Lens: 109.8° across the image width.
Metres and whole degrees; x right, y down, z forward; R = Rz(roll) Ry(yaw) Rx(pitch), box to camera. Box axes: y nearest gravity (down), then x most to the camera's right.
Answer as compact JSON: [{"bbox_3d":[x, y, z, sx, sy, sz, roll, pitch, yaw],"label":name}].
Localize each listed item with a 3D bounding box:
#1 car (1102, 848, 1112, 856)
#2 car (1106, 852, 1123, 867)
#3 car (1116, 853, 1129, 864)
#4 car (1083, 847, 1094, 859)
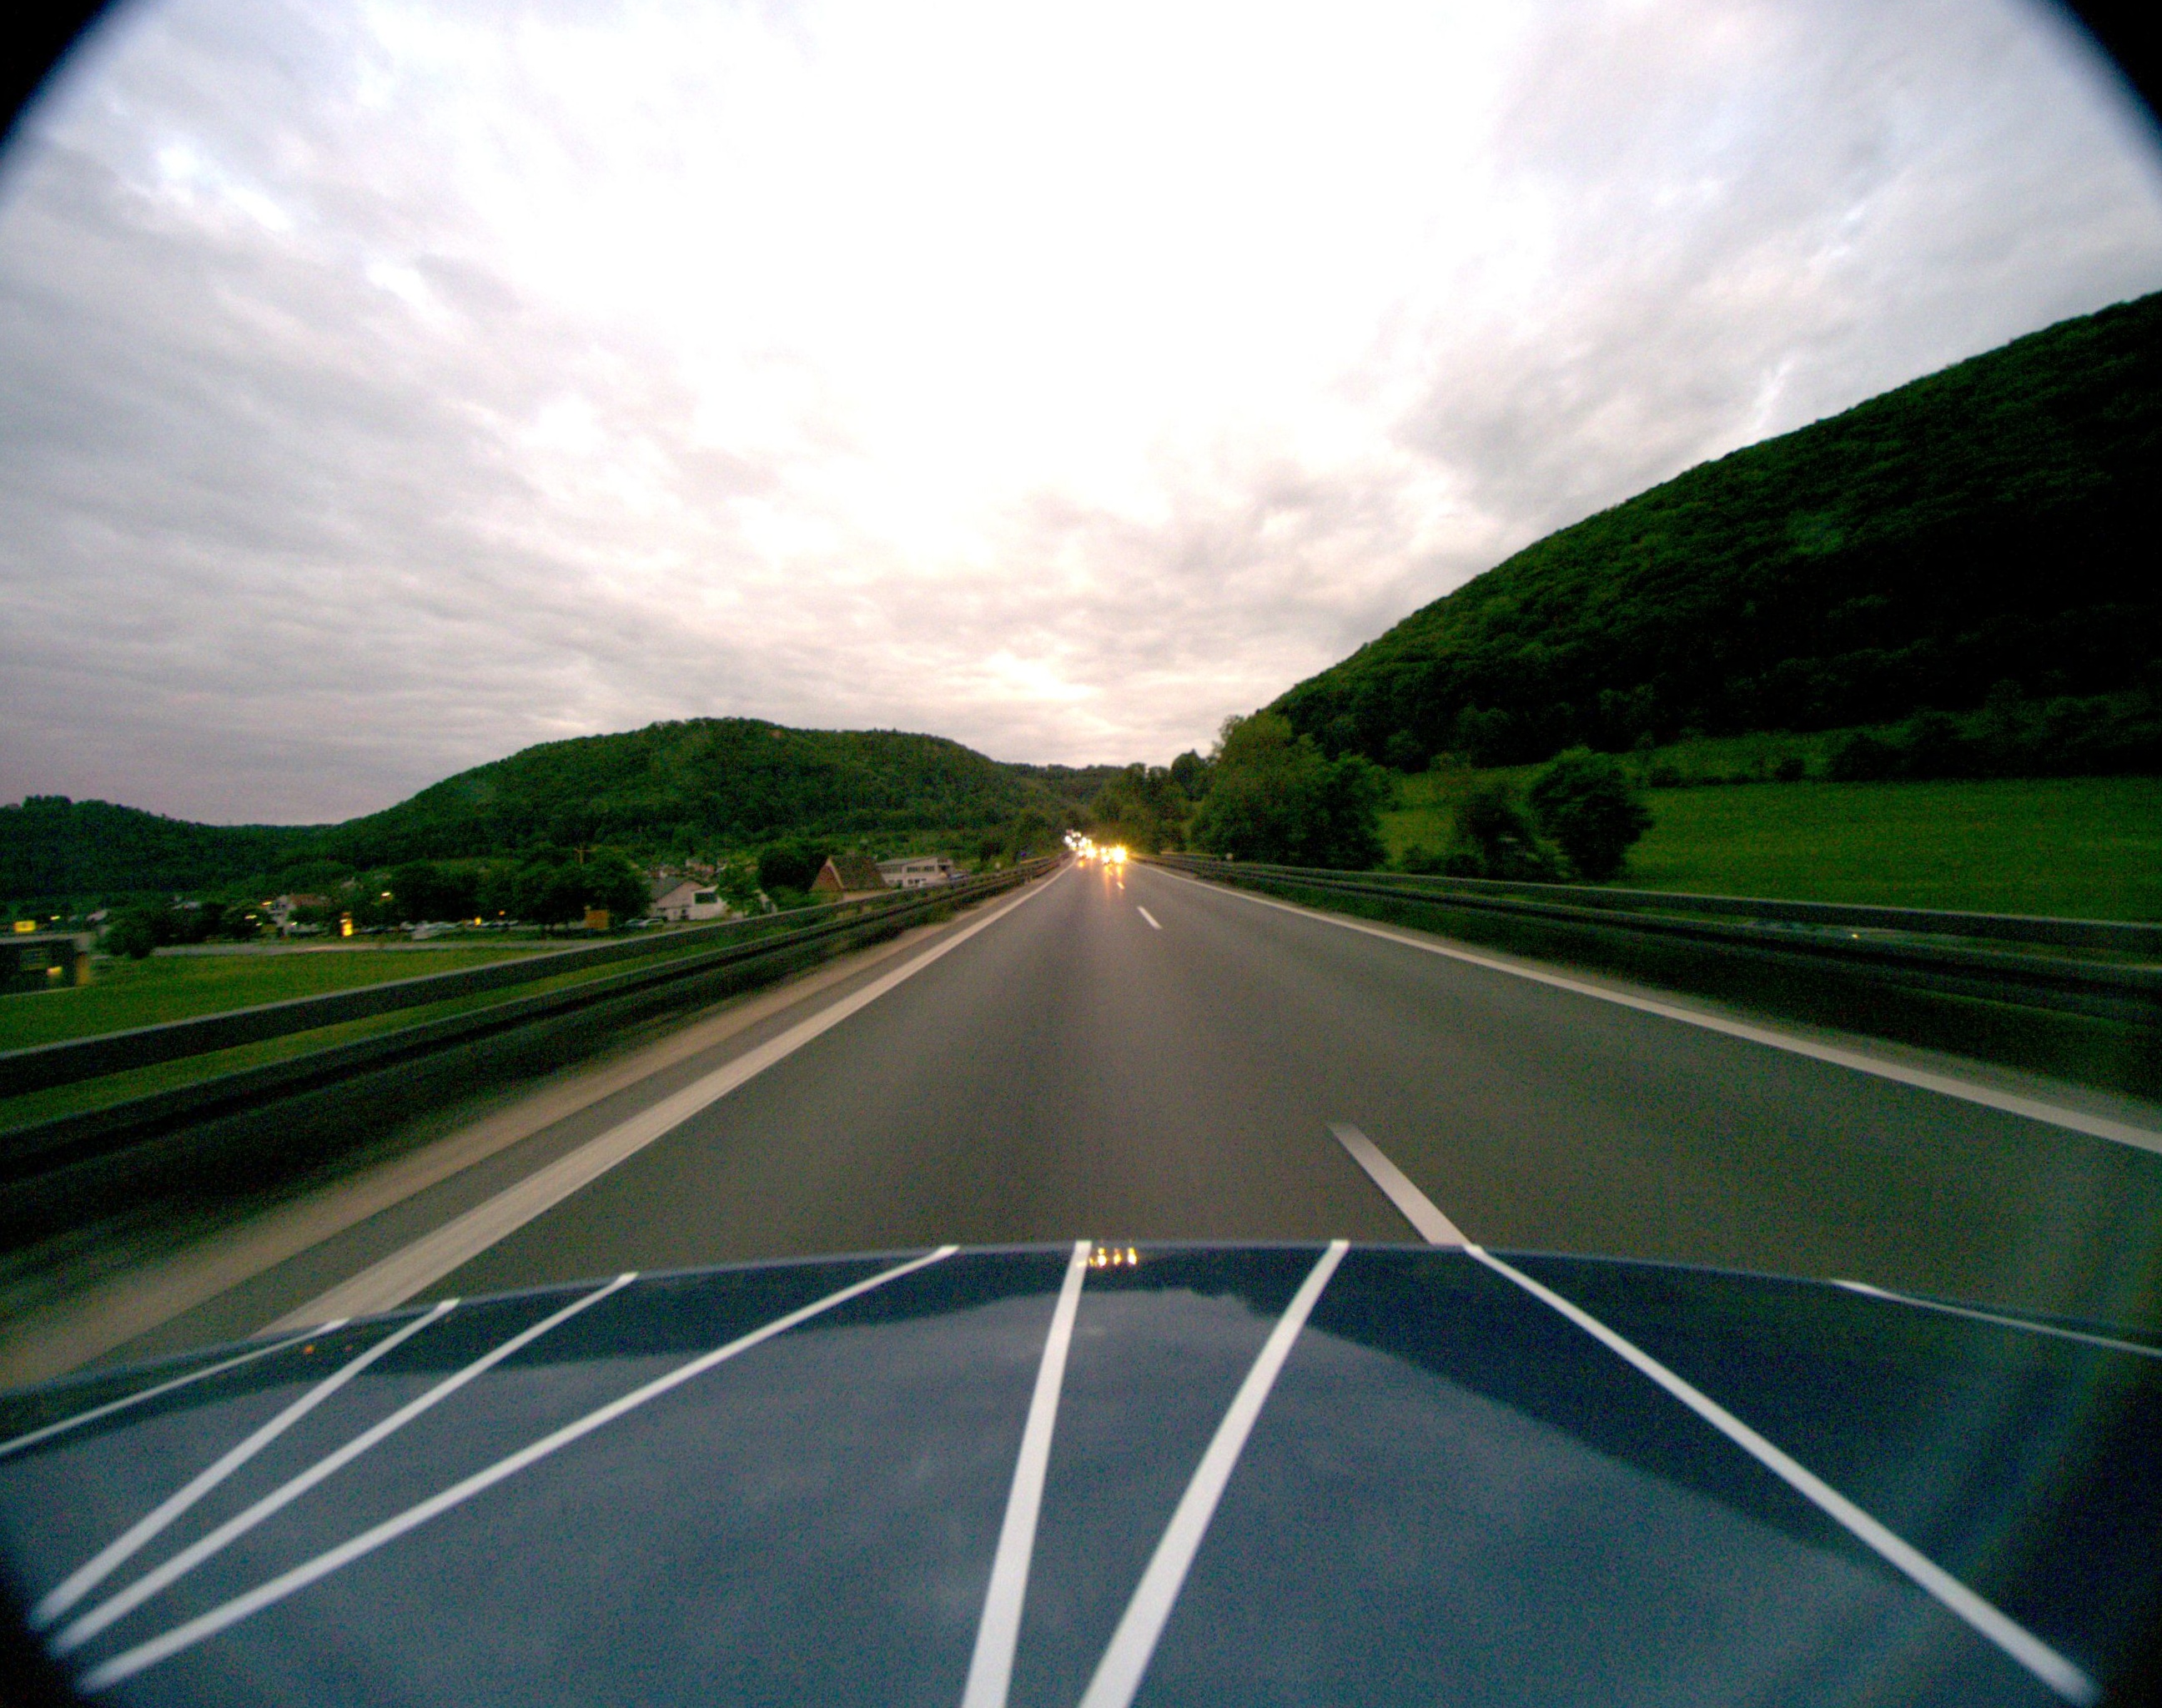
[{"bbox_3d":[5.029,-0.405,146.599,1.690,1.424,3.671,-1,-3,1],"label":"car"},{"bbox_3d":[3.578,0.573,81.037,1.690,1.442,3.670,-1,-3,0],"label":"car"},{"bbox_3d":[6.299,0.717,116.194,1.690,1.459,3.769,-1,-3,0],"label":"car"},{"bbox_3d":[1.158,-0.136,117.399,1.737,1.640,3.671,-1,-3,1],"label":"car"}]
